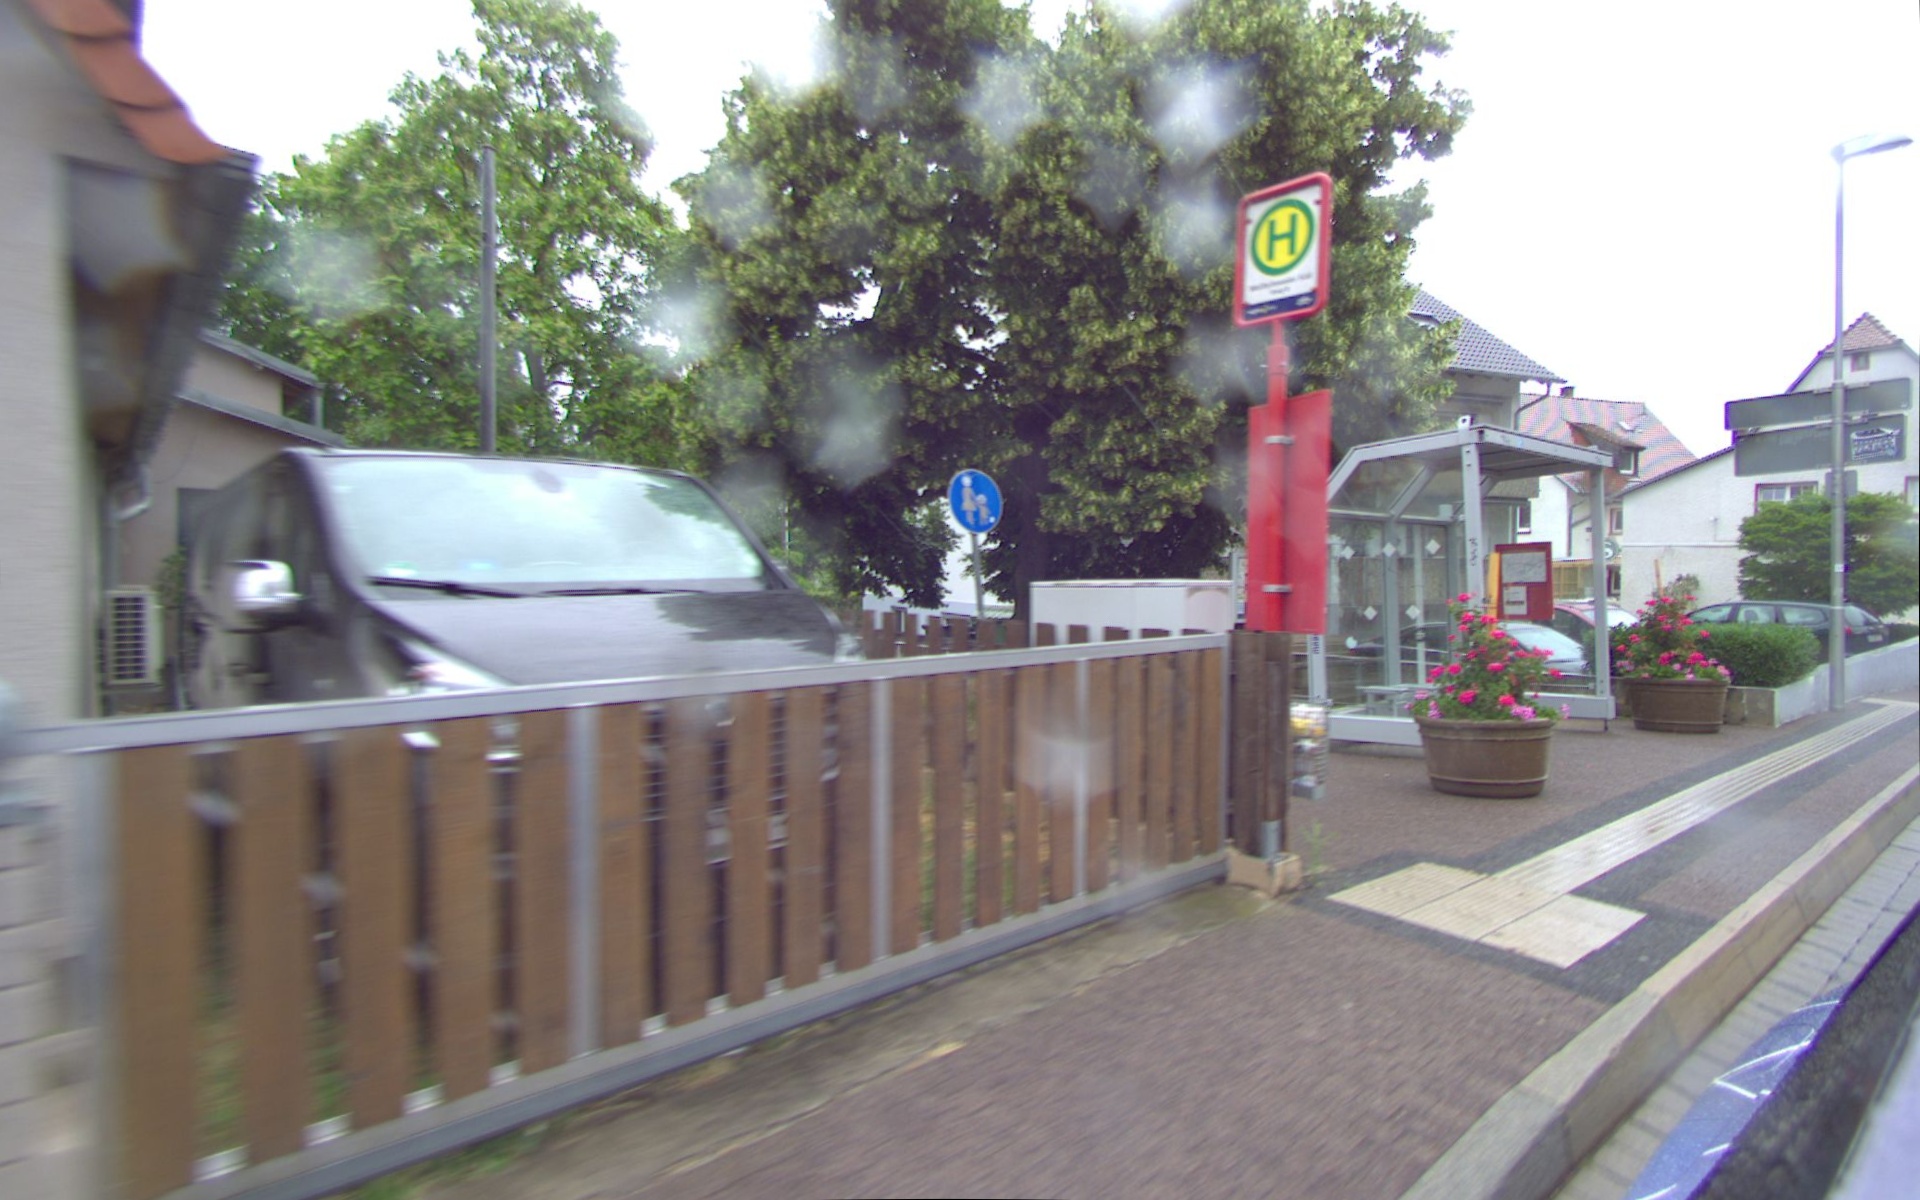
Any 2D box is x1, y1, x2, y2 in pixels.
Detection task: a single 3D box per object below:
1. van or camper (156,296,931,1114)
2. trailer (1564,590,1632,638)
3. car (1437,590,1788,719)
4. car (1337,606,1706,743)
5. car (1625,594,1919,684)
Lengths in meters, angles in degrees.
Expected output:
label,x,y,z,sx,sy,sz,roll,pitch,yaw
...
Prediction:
label,x,y,z,sx,sy,sz,roll,pitch,yaw
van or camper,-2.498,0.260,4.916,1.844,1.947,5.074,0,0,-43
trailer,24.611,0.513,39.035,2.565,1.764,1.571,0,0,-41
car,9.595,0.682,15.269,1.819,1.609,4.089,0,1,-26
car,7.290,0.857,13.539,1.717,1.395,3.968,0,2,-32
car,15.757,0.659,19.907,1.660,1.499,4.250,0,1,-25
